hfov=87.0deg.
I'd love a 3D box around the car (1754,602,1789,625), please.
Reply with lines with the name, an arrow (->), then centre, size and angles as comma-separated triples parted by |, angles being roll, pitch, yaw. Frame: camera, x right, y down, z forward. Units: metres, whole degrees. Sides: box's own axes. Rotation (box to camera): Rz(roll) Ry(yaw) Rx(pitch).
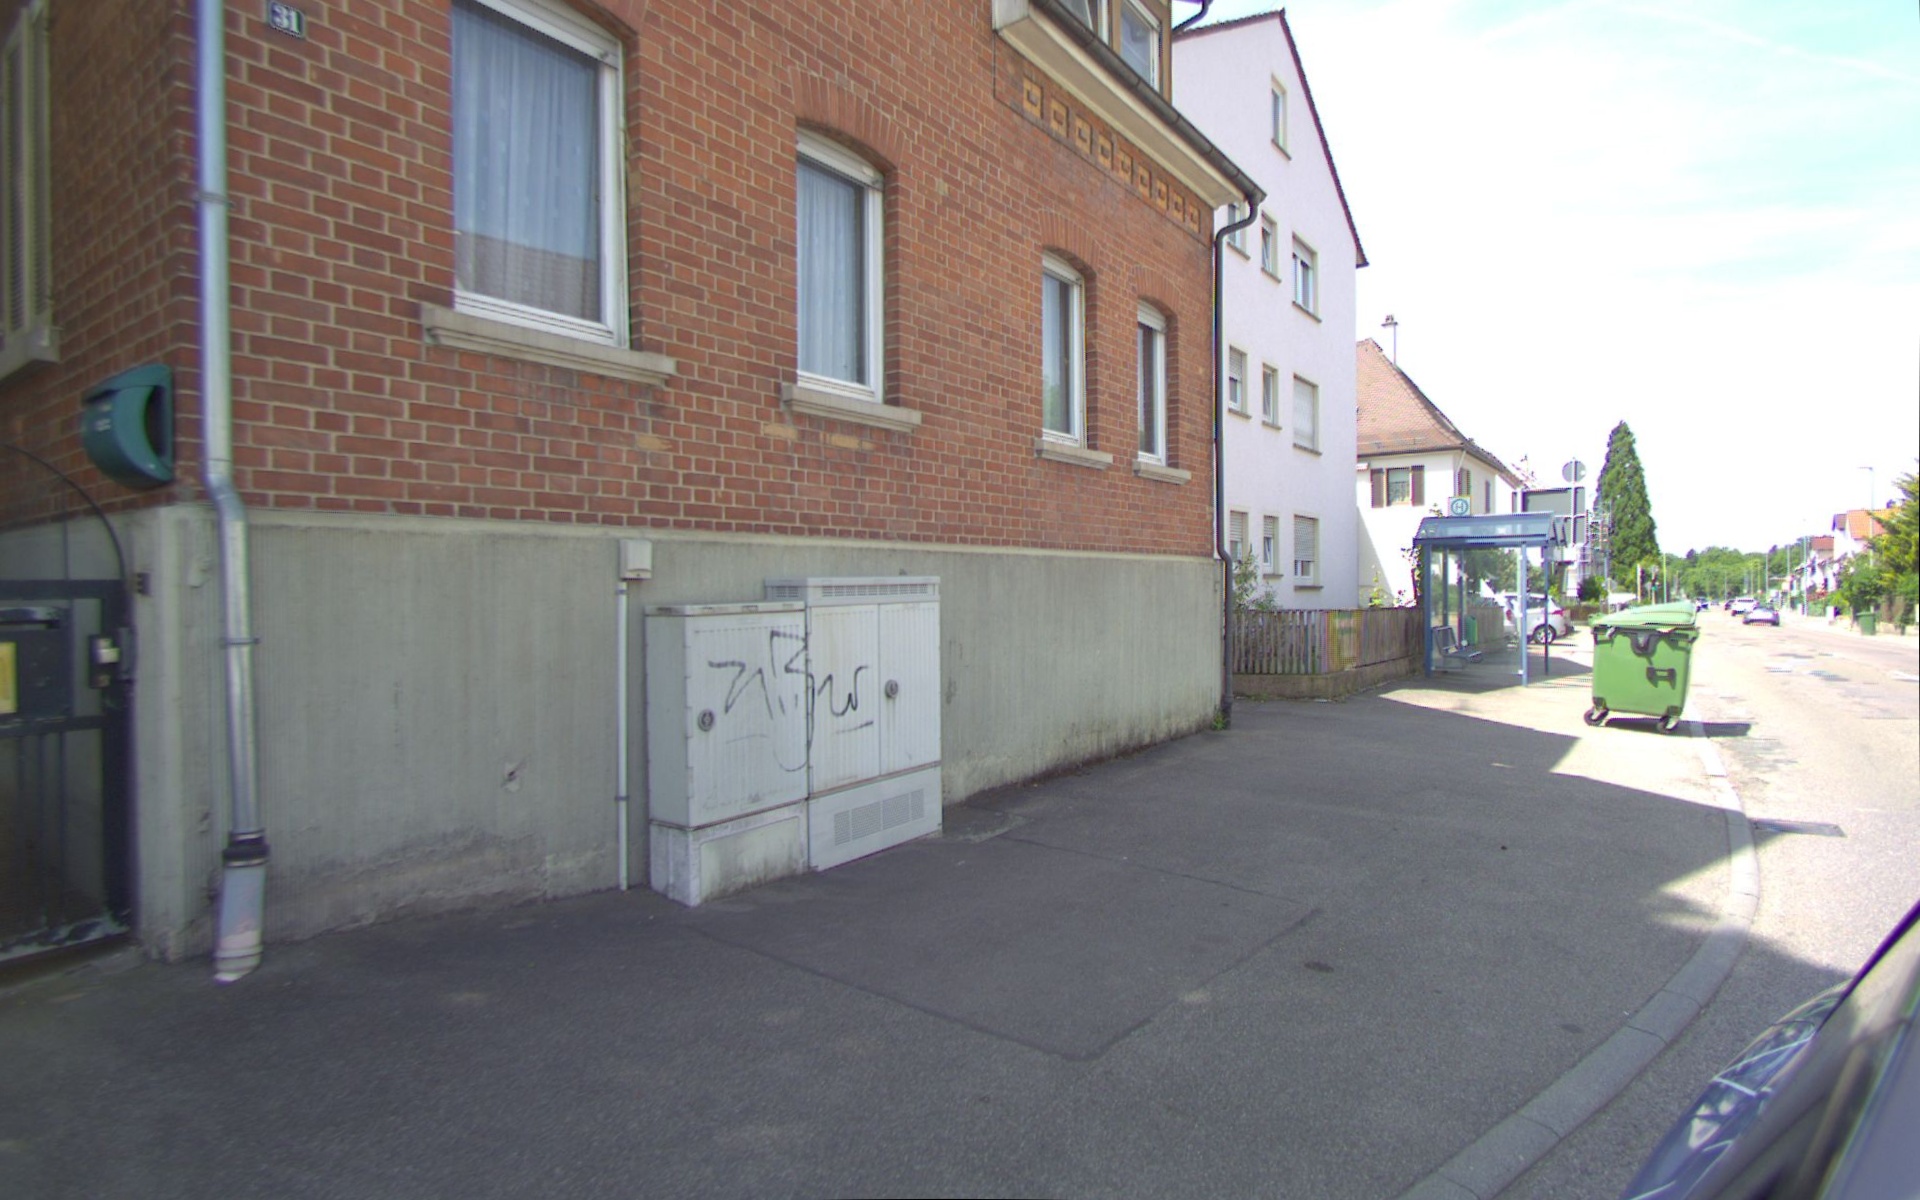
car -> 53.535, 0.872, 66.793 | 1.639, 1.374, 3.520 | 1, 1, 36

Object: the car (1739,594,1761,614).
car -> 70.579, 0.369, 90.431 | 1.402, 1.721, 3.273 | 1, 0, 36

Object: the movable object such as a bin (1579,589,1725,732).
movable object such as a bin -> 8.107, 0.655, 11.925 | 1.346, 1.540, 1.276 | 1, 0, 34

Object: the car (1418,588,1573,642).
car -> 16.673, 0.435, 31.692 | 3.940, 1.591, 1.757 | 1, 0, 14

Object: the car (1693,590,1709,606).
car -> 80.821, -0.210, 110.394 | 1.402, 1.721, 3.273 | 1, 0, 36
